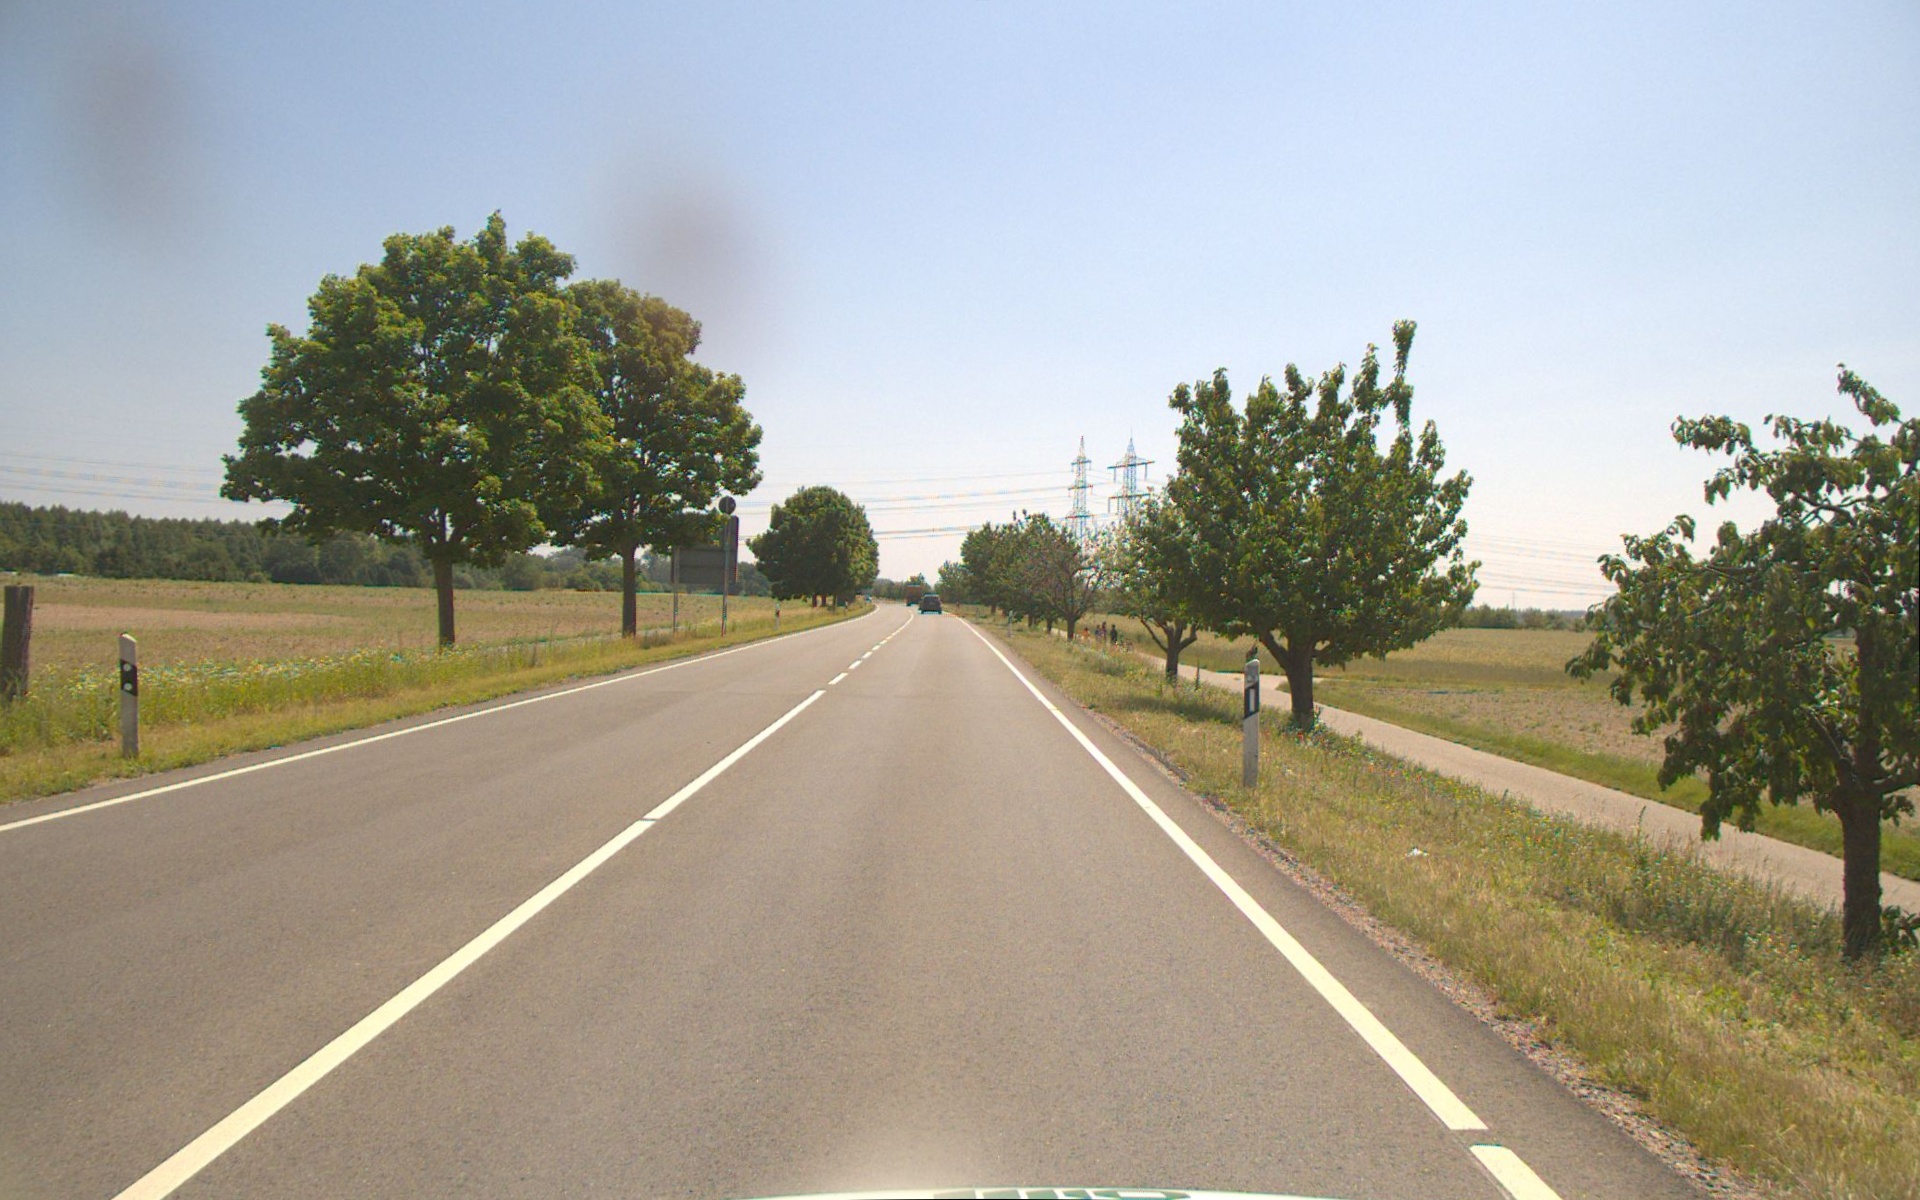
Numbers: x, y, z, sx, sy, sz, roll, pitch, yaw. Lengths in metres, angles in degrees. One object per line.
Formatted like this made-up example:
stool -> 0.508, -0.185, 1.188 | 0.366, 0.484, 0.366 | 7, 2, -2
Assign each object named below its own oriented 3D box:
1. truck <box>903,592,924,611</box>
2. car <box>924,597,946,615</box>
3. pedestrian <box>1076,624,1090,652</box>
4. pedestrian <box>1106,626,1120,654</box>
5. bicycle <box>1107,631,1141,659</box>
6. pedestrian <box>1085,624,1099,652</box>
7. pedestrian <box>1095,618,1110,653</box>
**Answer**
truck -> -7.248, 0.174, 260.787 | 3.108, 2.911, 9.512 | 1, 0, -1
car -> -2.271, 0.541, 150.973 | 1.847, 1.544, 4.039 | 4, 0, -1
pedestrian -> 6.308, 1.932, 84.936 | 0.544, 1.394, 0.603 | 4, 0, -9
pedestrian -> 7.861, 2.045, 85.011 | 0.544, 1.394, 0.603 | 4, 0, -9
bicycle -> 8.063, 2.199, 81.568 | 1.195, 1.185, 2.433 | 4, 0, -5
pedestrian -> 6.811, 1.967, 85.358 | 0.544, 1.394, 0.603 | 4, 0, -9
pedestrian -> 7.380, 1.832, 85.749 | 0.544, 1.750, 0.603 | 4, 0, -9
